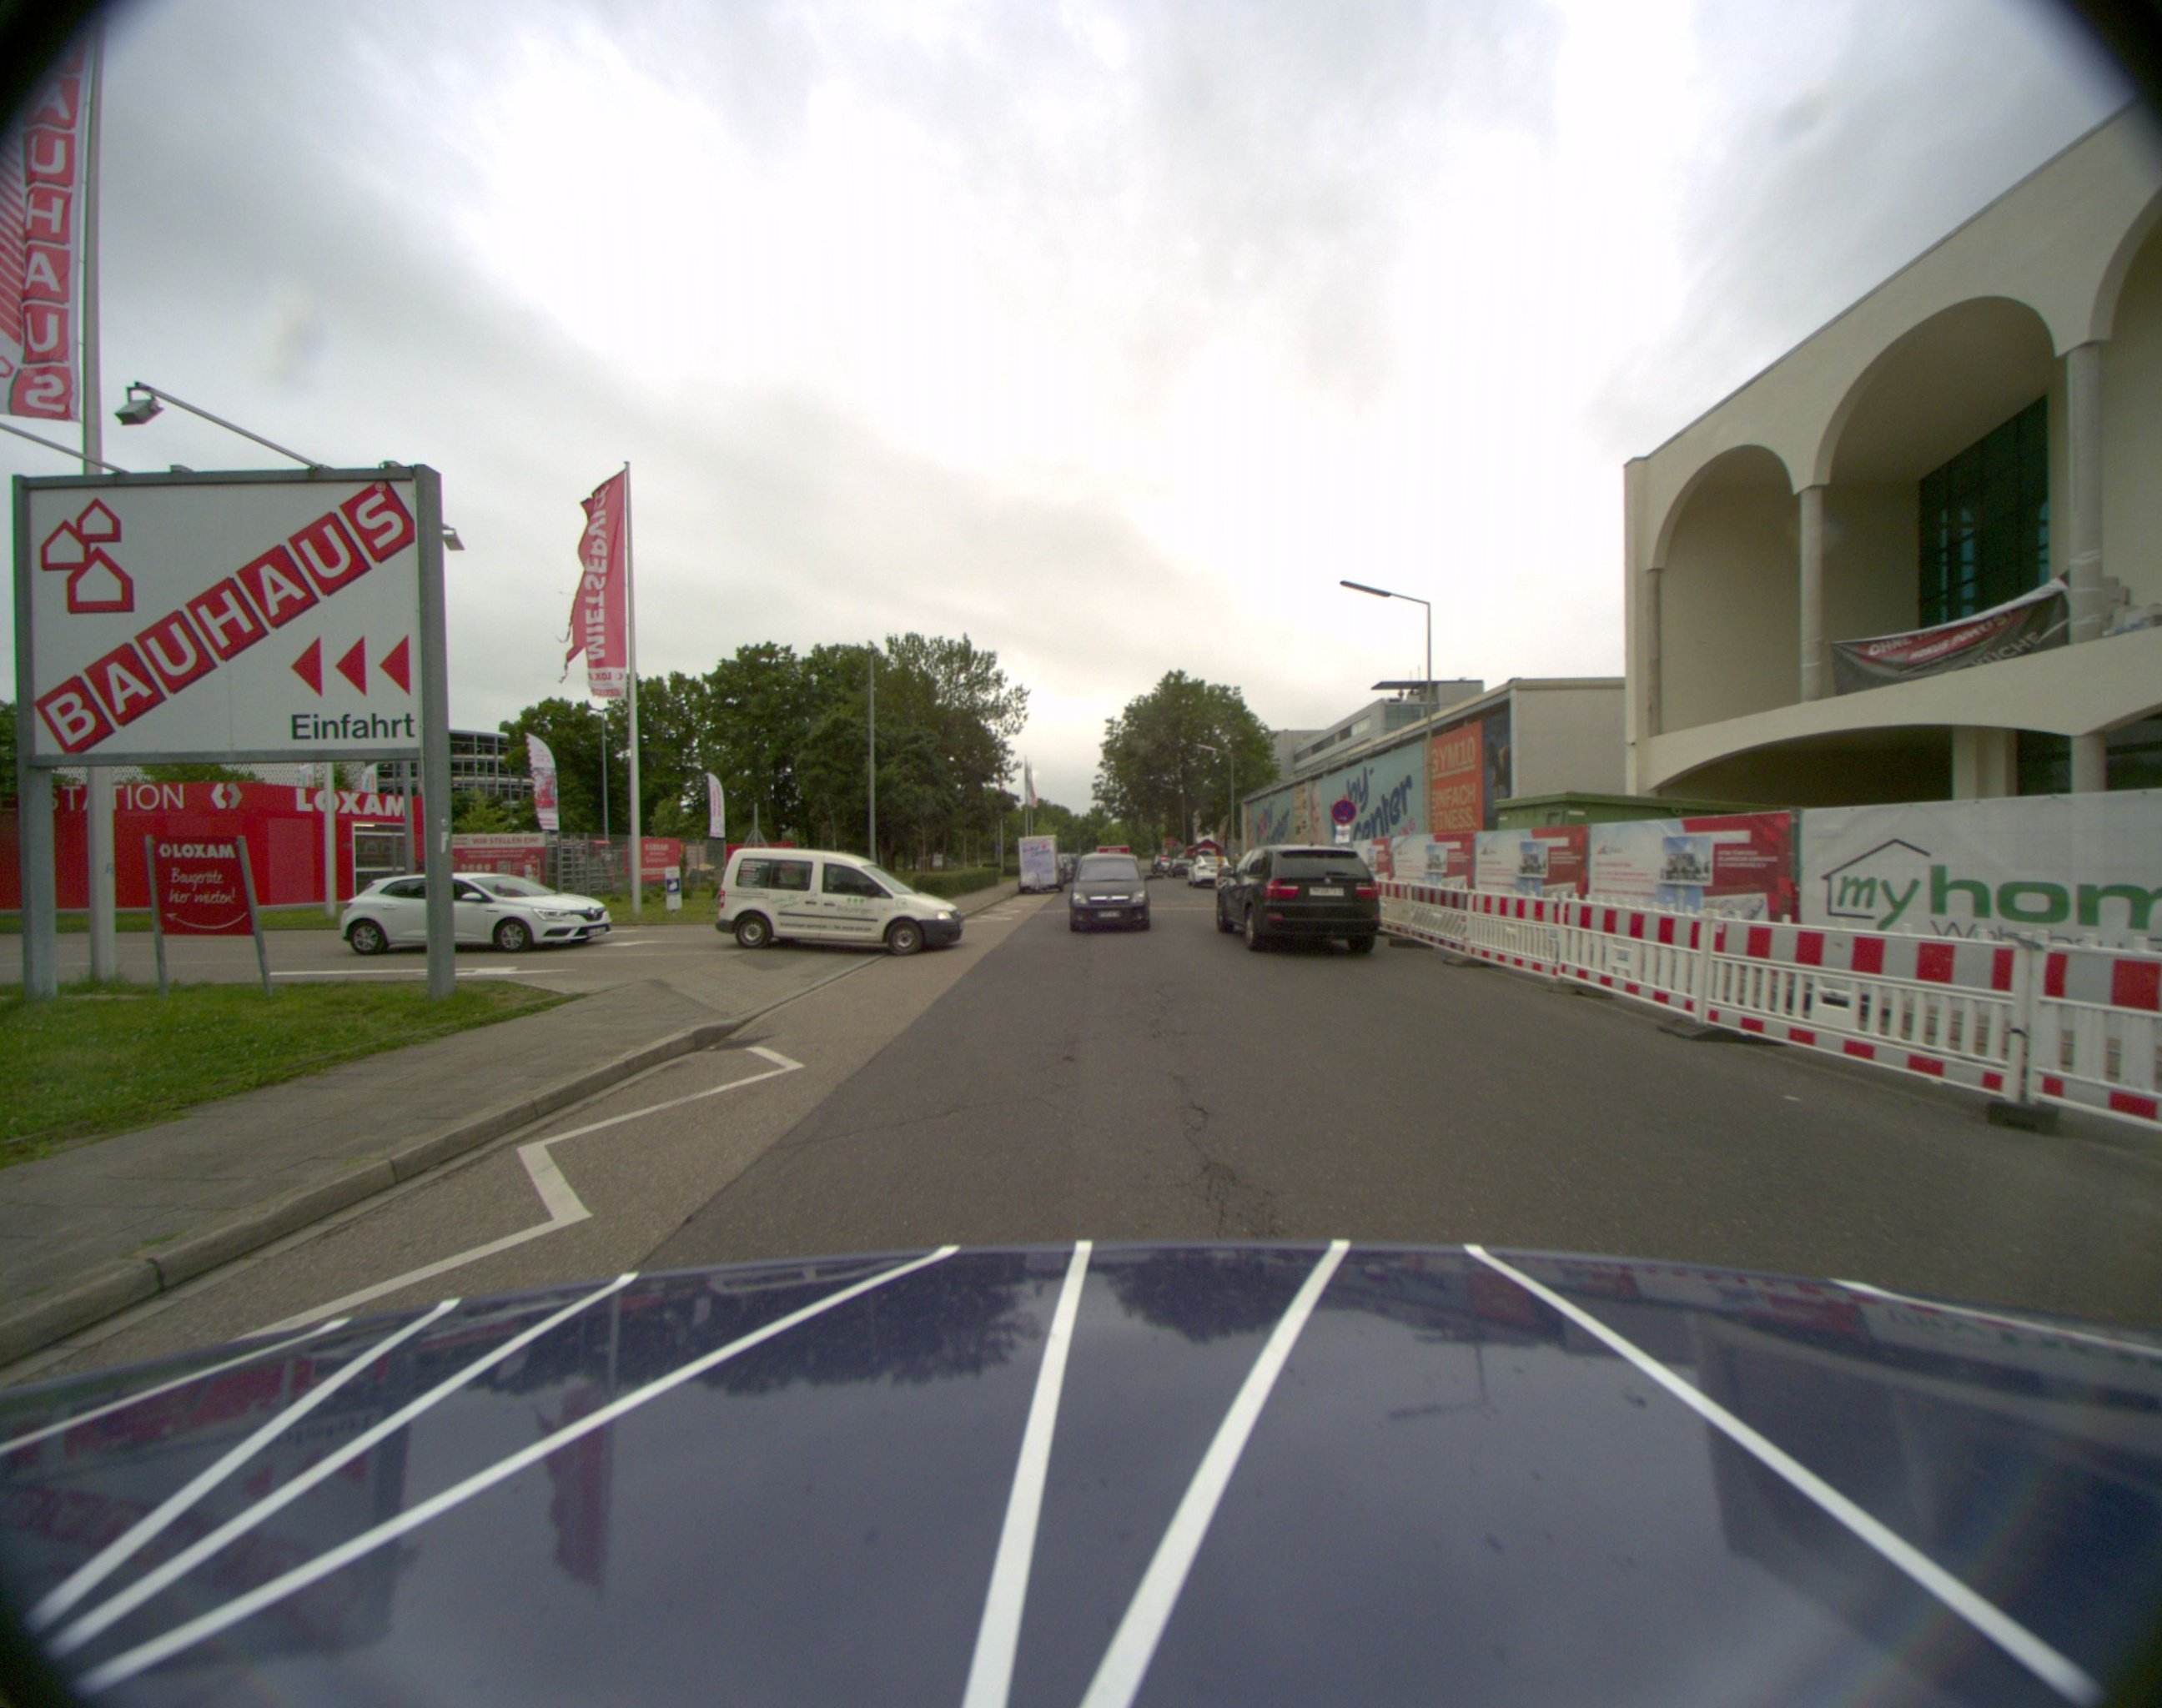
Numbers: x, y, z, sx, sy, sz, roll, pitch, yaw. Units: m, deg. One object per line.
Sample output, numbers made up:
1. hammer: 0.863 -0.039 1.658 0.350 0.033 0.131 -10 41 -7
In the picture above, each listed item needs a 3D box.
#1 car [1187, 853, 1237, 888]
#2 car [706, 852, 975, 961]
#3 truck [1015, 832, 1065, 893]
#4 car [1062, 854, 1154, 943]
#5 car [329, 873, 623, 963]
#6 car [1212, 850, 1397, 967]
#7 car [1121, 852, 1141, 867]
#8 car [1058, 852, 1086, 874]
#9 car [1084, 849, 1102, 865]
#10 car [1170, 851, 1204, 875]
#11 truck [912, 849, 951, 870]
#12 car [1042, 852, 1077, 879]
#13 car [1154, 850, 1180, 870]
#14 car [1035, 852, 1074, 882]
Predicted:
1. car: 6.493 0.784 38.108 1.928 1.565 4.150 2 0 2
2. car: -4.295 0.904 14.080 4.380 1.797 1.800 1 1 0
3. truck: -1.868 0.377 35.641 1.853 2.597 4.000 -4 0 1
4. car: 0.618 0.836 16.121 1.684 1.622 3.759 -1 0 4
5. car: -11.134 1.150 14.181 4.112 1.412 1.731 -2 1 2
6. car: 3.631 0.779 13.334 1.964 1.652 4.654 1 0 2
7. car: 5.128 0.564 78.643 1.928 1.565 4.000 0 0 2
8. car: -0.732 0.763 64.441 1.998 1.740 4.001 -1 0 3
9. car: 1.411 0.334 87.941 1.998 1.740 4.001 -1 0 3
10. car: 7.494 0.618 54.151 1.928 1.565 4.150 2 0 2
11. truck: -17.301 0.652 88.203 1.994 2.383 4.008 0 1 41
12. car: -1.388 0.743 51.216 1.998 1.740 4.001 -1 0 3
13. car: 7.306 0.471 64.895 1.928 1.565 4.150 2 0 2
14. car: -1.568 0.768 46.156 1.998 1.718 4.001 -1 0 3
